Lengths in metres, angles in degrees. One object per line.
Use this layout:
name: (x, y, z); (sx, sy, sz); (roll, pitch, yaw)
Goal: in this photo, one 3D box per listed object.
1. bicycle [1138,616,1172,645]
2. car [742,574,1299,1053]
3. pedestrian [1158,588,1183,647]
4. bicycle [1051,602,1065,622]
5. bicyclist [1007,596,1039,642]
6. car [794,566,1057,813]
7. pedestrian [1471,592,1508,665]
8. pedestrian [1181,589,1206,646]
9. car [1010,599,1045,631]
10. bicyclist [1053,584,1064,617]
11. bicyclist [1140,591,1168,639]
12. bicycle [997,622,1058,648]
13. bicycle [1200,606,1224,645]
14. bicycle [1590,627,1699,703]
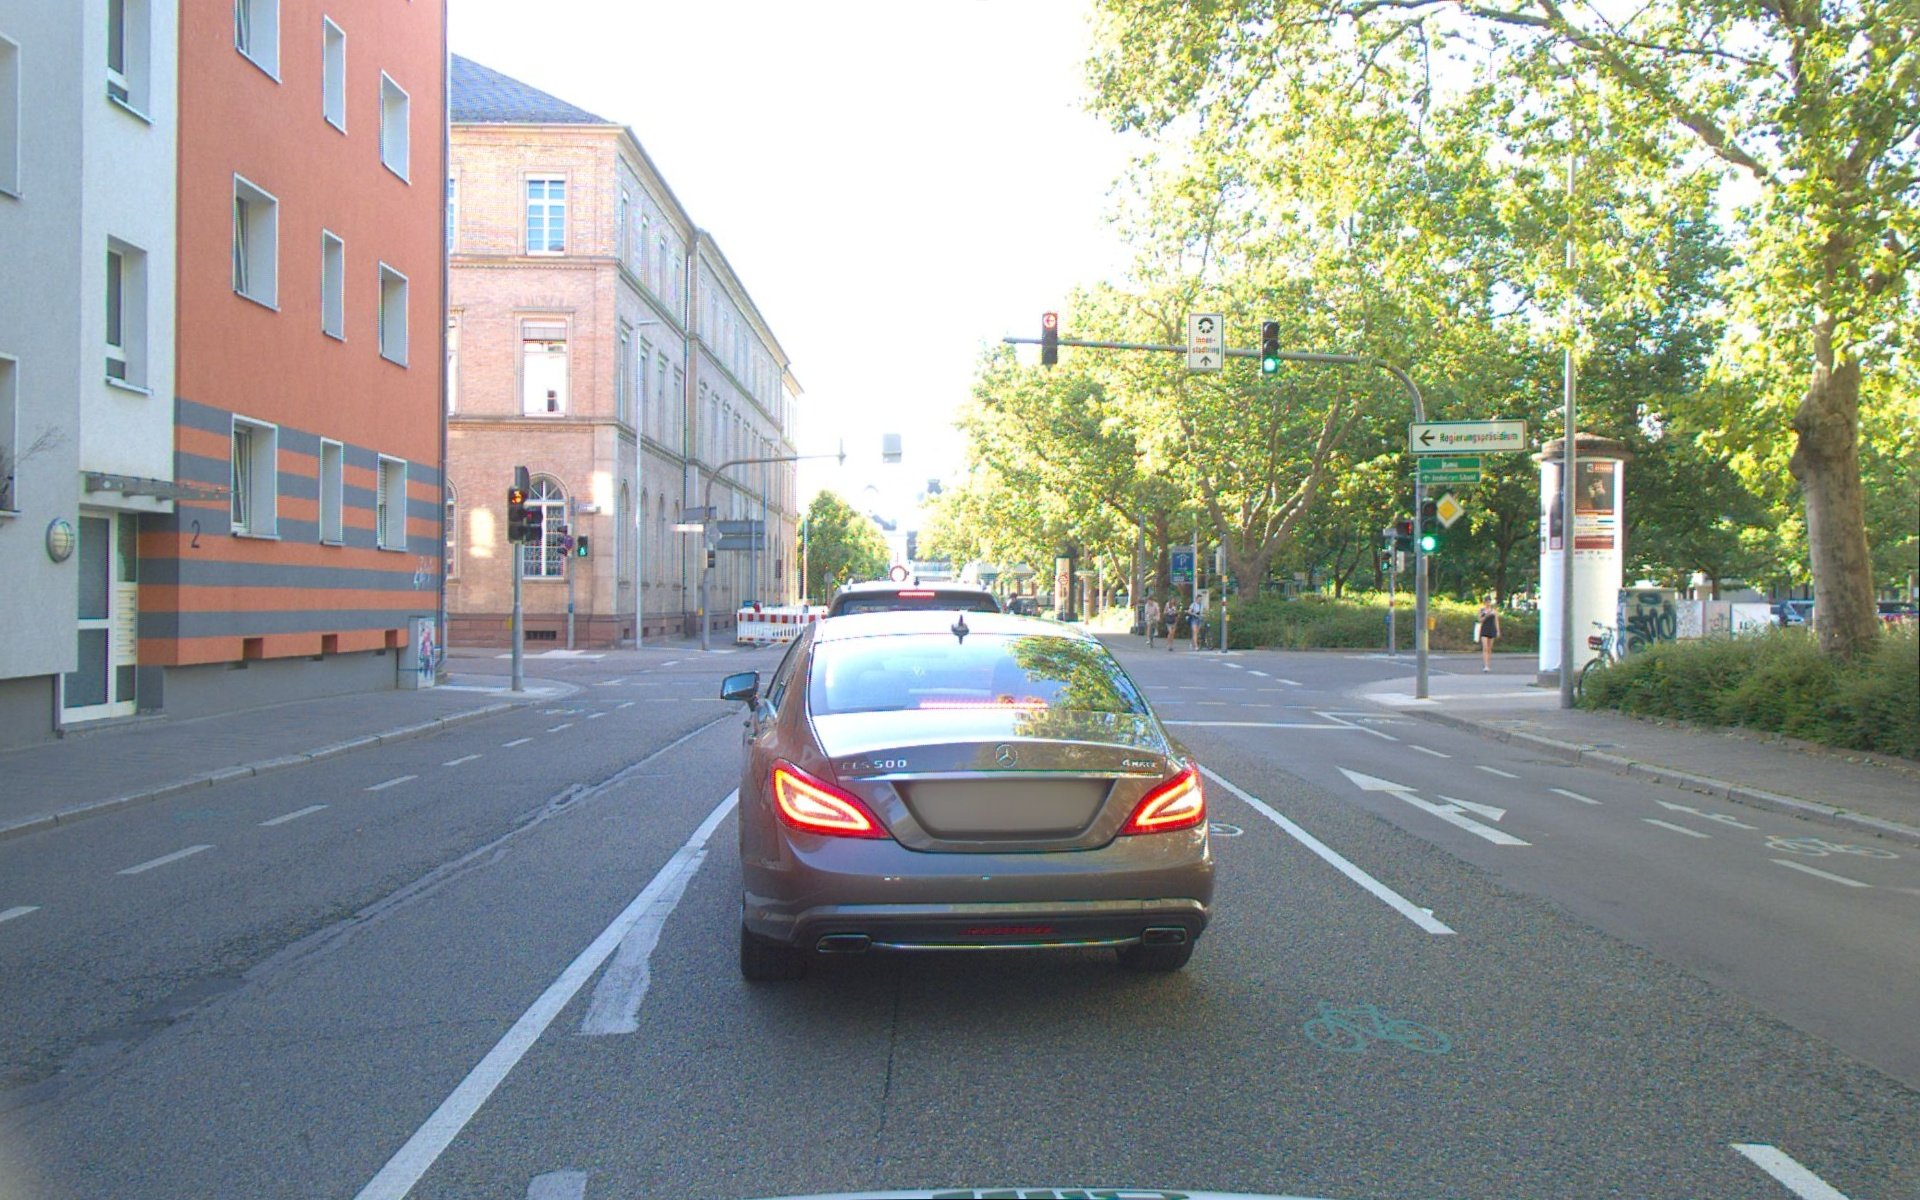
bicycle: (6.666, 1.024, 56.705); (0.811, 0.940, 2.616); (1, 0, -1)
car: (-0.035, 0.690, 7.451); (1.826, 1.545, 3.993); (1, 0, -8)
pedestrian: (6.664, 0.558, 52.453); (0.623, 1.828, 0.698); (1, -1, -5)
bicycle: (6.234, 0.747, 105.018); (0.580, 1.285, 1.804); (1, 0, -5)
bicyclist: (1.964, 0.594, 51.826); (0.691, 1.422, 0.726); (1, -1, -38)
car: (-0.271, 0.620, 13.579); (1.823, 1.712, 3.999); (1, 0, -1)
pedestrian: (11.652, 0.622, 36.439); (0.622, 1.572, 0.911); (1, -1, 9)
pedestrian: (7.397, 0.548, 52.303); (0.623, 1.791, 0.698); (1, -1, -5)
car: (3.990, 0.877, 98.155); (1.823, 1.794, 4.481); (1, 0, -1)
bicyclist: (6.239, 0.051, 105.012); (0.583, 2.075, 0.565); (1, -1, -5)
bicyclist: (6.654, 0.512, 56.722); (0.808, 1.646, 0.957); (1, 0, -1)
bicycle: (2.121, 1.096, 51.960); (1.908, 0.805, 0.716); (1, 0, -38)
bicycle: (7.976, 0.800, 52.383); (0.472, 1.223, 1.606); (1, 0, -1)
bicycle: (9.869, 0.923, 23.824); (1.868, 1.046, 0.633); (1, -1, -39)
